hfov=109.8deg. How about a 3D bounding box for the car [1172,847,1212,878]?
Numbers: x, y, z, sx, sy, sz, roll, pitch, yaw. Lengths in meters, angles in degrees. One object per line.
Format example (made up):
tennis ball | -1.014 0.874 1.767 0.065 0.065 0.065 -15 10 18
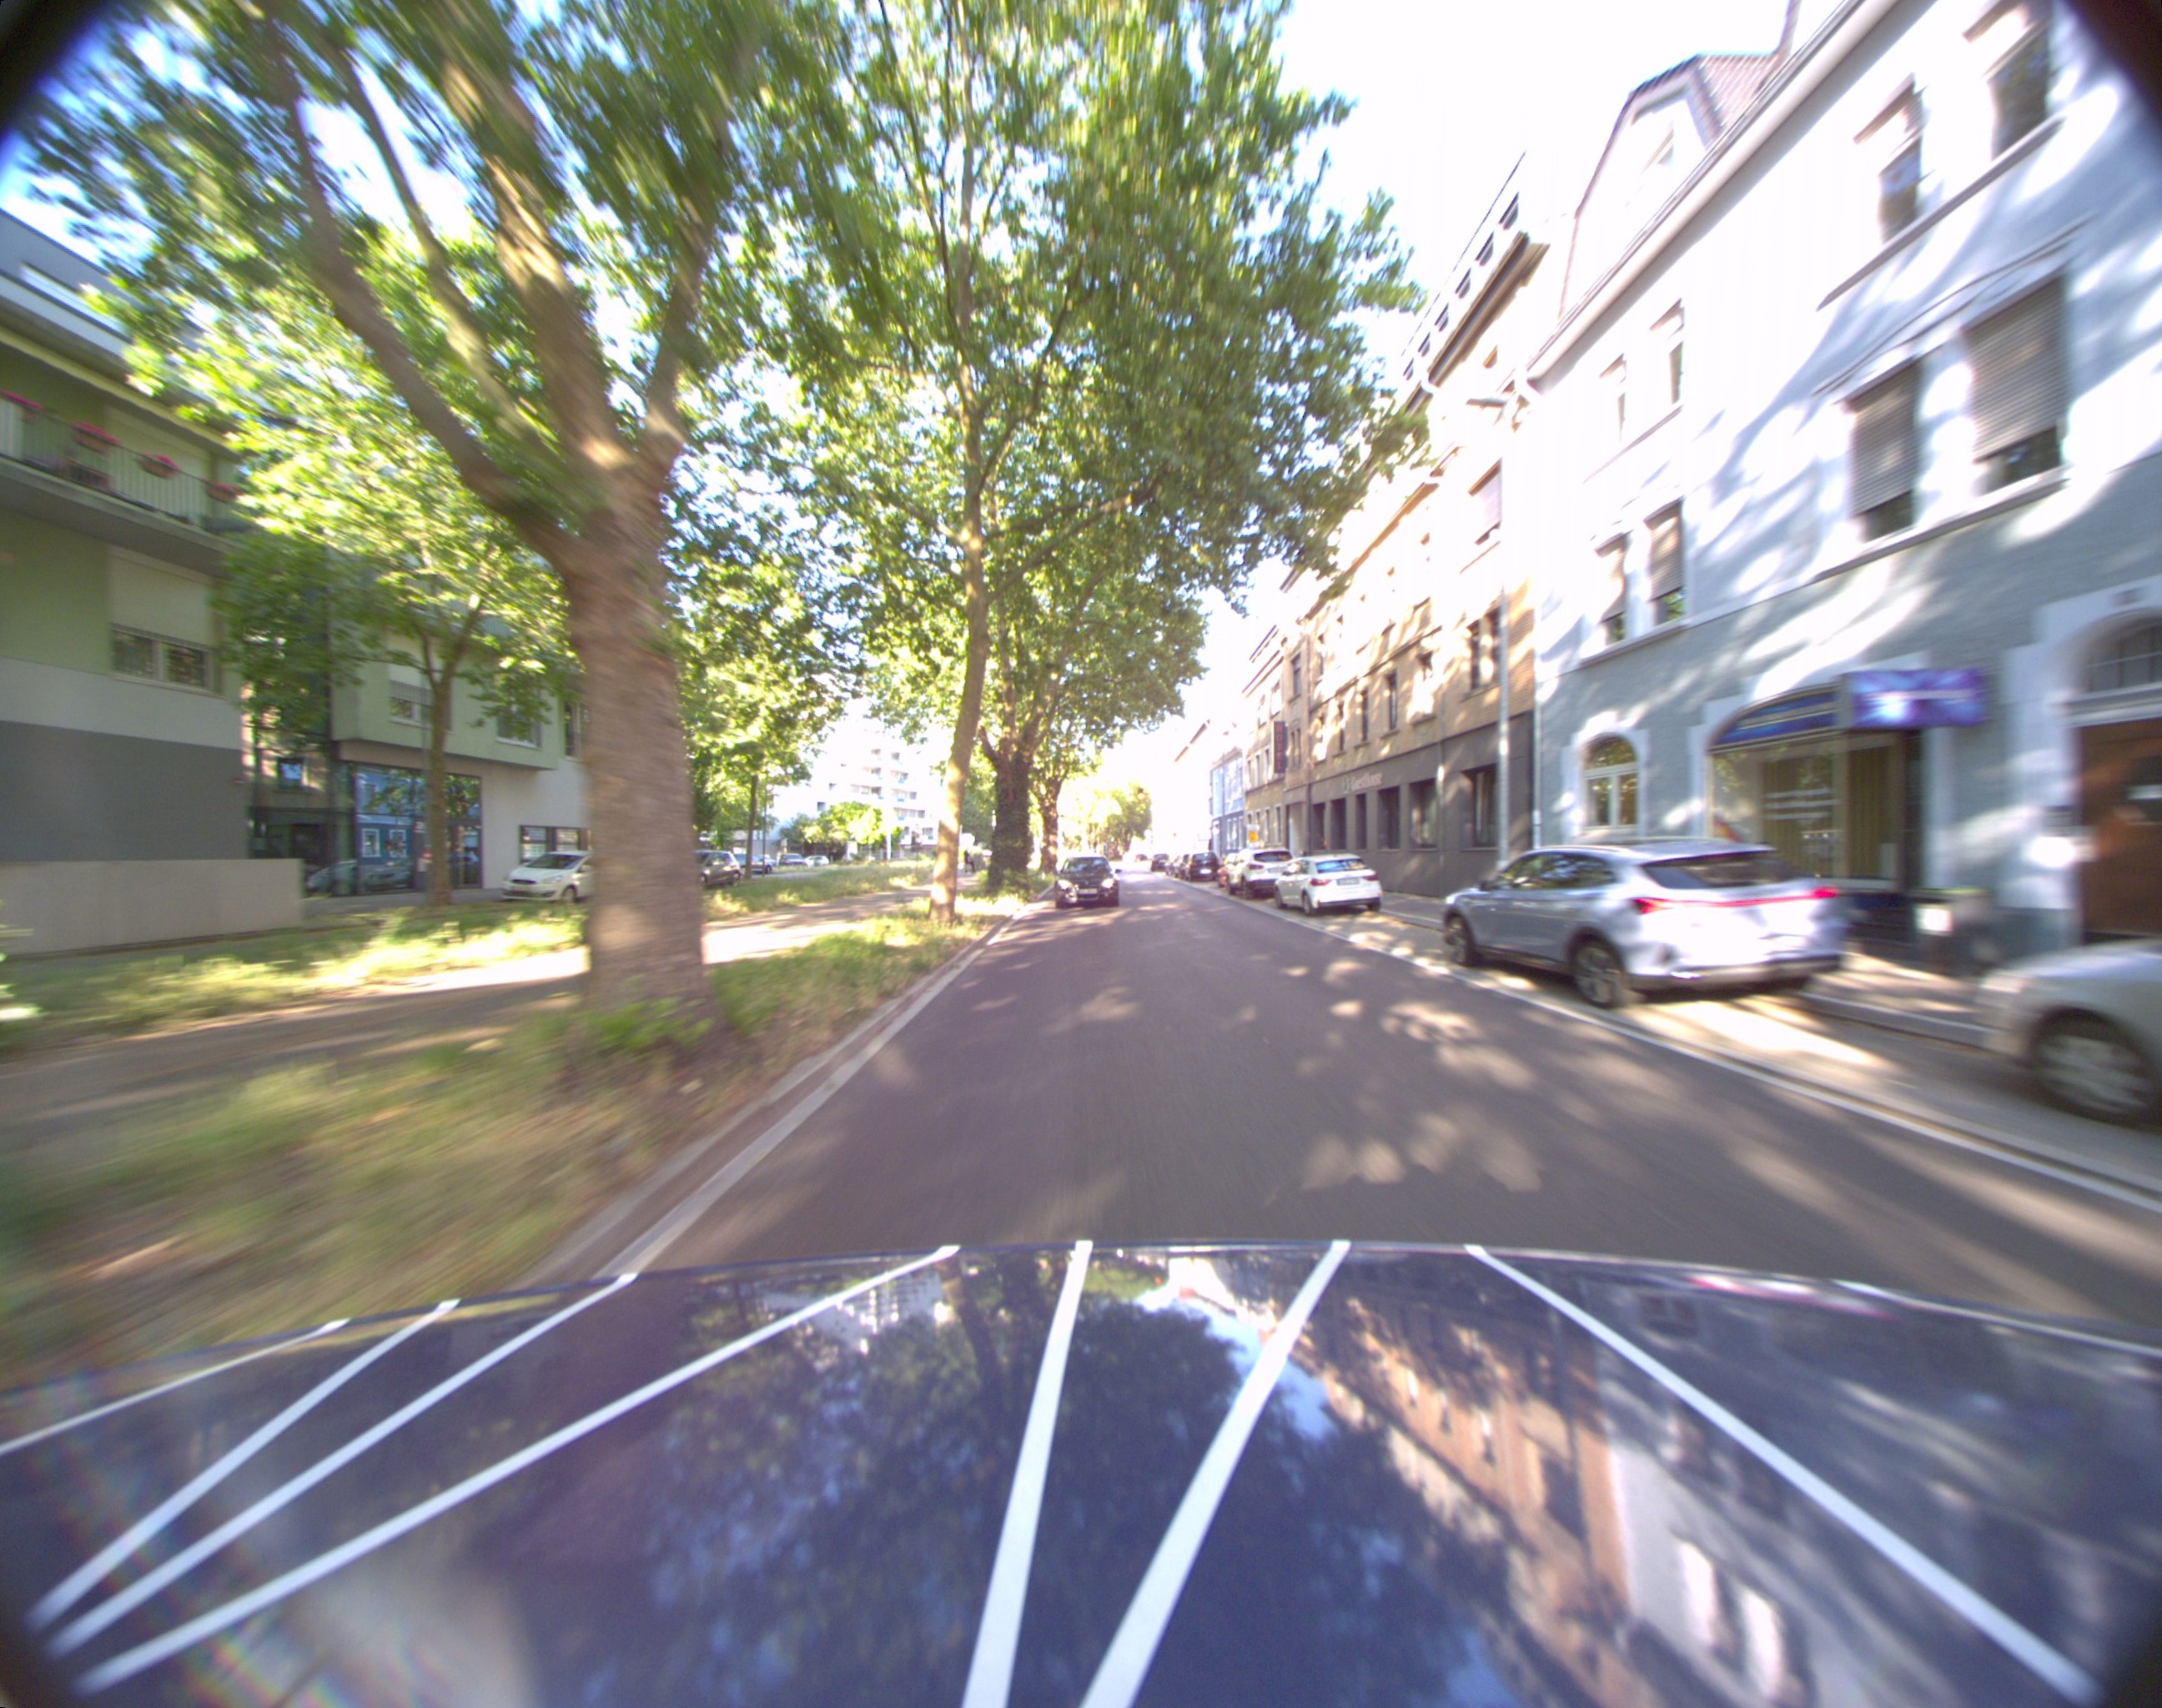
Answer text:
car | 6.543 0.466 45.073 1.786 1.663 4.156 -2 0 1

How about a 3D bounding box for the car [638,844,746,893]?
car | -14.872 0.505 29.377 1.909 1.761 4.319 0 0 0

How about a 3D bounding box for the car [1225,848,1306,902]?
car | 5.960 0.620 24.981 1.682 1.575 4.200 -2 0 1

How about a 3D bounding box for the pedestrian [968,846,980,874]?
pedestrian | -7.279 0.410 51.719 0.785 1.869 0.803 0 1 -9

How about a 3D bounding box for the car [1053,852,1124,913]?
car | 0.244 0.763 22.571 1.844 1.536 4.524 -2 0 1

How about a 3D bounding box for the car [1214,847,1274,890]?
car | 6.545 0.534 30.864 1.682 1.583 3.756 -2 0 1

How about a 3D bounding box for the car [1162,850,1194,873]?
car | 6.932 0.511 54.591 1.654 1.478 4.262 -2 0 -1

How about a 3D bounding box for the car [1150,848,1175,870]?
car | 6.888 0.388 64.352 1.910 1.663 4.493 -2 0 4

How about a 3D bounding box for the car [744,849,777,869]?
car | -28.249 0.459 66.976 1.832 1.577 4.359 2 -3 -34

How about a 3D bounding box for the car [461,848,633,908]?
car | -15.130 0.613 21.875 1.863 1.534 4.319 0 0 0

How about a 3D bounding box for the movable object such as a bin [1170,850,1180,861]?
movable object such as a bin | 10.955 0.192 88.562 1.033 1.278 1.063 0 1 12

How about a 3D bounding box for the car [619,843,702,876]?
car | -29.302 0.439 53.098 1.997 2.083 5.061 0 -3 17

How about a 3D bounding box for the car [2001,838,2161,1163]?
car | 6.286 0.739 2.518 1.682 1.632 3.984 -2 0 1

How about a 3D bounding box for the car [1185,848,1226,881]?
car | 6.463 0.497 39.809 1.681 1.595 3.706 -2 0 3

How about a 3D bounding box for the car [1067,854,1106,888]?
car | 0.258 0.741 34.675 1.654 1.445 3.534 0 0 1

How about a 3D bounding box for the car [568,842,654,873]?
car | -24.415 0.240 39.605 1.672 1.445 3.564 0 -3 17

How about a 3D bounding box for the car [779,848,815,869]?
car | -25.250 0.419 67.515 1.942 1.649 4.467 2 -3 -34

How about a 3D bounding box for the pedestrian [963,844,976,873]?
pedestrian | -7.396 0.303 50.382 0.839 1.921 0.781 -1 1 -10

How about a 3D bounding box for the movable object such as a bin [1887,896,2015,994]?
movable object such as a bin | 9.086 0.929 7.962 0.558 0.941 0.669 0 1 1

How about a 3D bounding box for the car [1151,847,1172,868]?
car | 7.391 0.261 70.039 1.668 1.808 4.005 -2 0 2

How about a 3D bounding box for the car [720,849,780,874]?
car | -22.110 0.517 50.877 1.673 1.513 3.992 0 -3 12

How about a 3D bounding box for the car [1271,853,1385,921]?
car | 6.124 0.749 19.273 1.682 1.488 3.871 -2 0 1

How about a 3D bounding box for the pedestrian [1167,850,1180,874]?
pedestrian | 6.179 0.548 50.834 0.865 1.561 0.706 0 1 4

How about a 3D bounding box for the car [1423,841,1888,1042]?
car | 5.873 0.729 8.697 1.912 1.632 4.577 -2 0 1

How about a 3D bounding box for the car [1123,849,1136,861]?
car | 7.625 0.143 119.601 1.898 1.782 4.000 0 0 2
